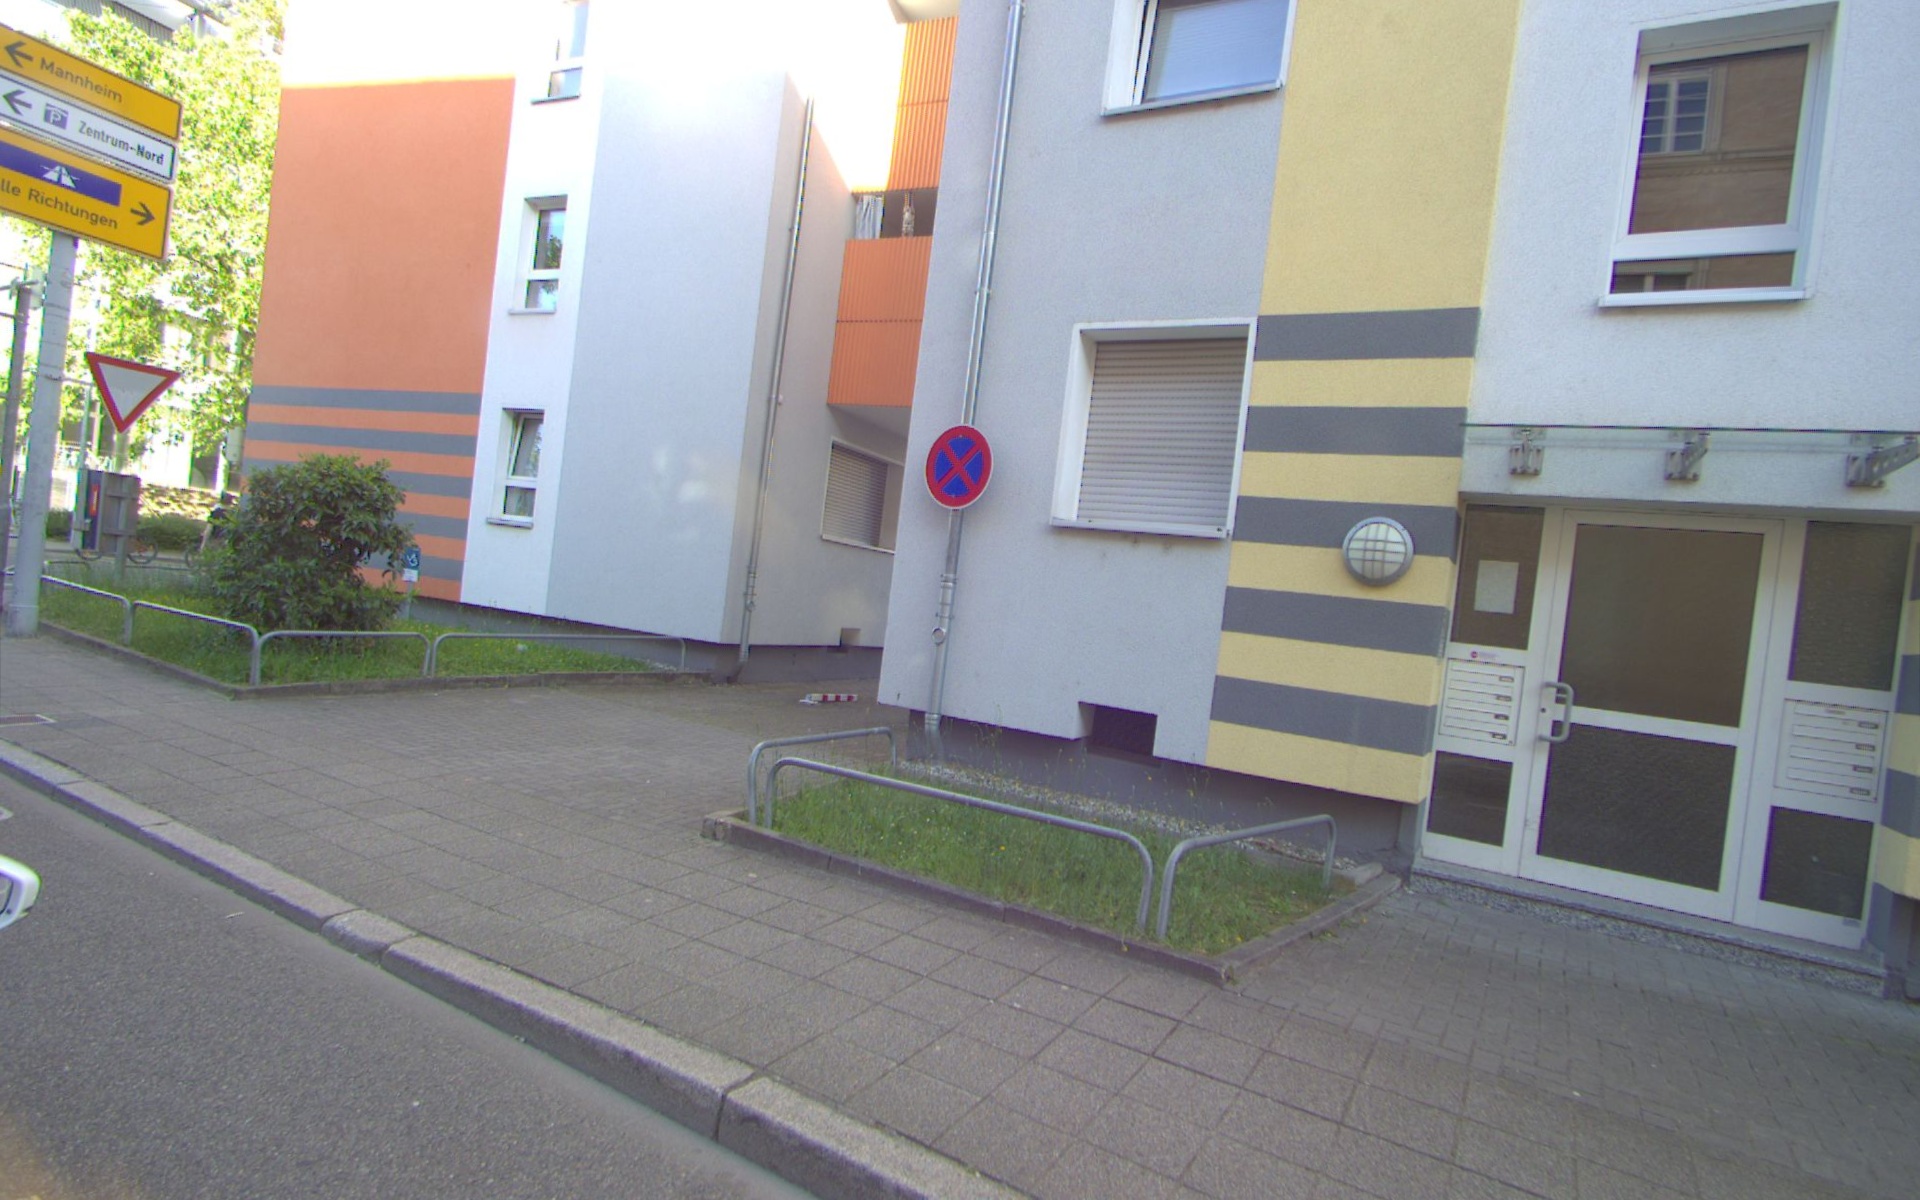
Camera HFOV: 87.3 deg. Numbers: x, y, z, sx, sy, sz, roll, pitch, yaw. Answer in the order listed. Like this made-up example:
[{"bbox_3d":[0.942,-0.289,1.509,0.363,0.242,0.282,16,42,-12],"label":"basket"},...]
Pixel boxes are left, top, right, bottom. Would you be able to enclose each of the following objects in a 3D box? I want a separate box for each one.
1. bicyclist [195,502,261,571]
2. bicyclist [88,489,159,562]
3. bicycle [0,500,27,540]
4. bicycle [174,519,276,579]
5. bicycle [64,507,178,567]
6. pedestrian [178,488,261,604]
[{"bbox_3d":[-17.293,-1.490,23.782,0.617,1.464,0.972,7,1,30],"label":"bicyclist"},{"bbox_3d":[-19.434,-1.715,23.387,0.691,1.542,0.919,7,1,14],"label":"bicyclist"},{"bbox_3d":[-26.397,-2.243,27.390,1.409,1.021,0.379,7,1,-11],"label":"bicycle"},{"bbox_3d":[-17.339,-1.187,23.776,0.617,1.166,1.781,7,0,29],"label":"bicycle"},{"bbox_3d":[-19.456,-1.437,23.391,0.616,1.166,1.971,7,0,14],"label":"bicycle"},{"bbox_3d":[-12.546,-0.900,17.068,0.690,1.831,0.719,7,-1,-9],"label":"pedestrian"}]
